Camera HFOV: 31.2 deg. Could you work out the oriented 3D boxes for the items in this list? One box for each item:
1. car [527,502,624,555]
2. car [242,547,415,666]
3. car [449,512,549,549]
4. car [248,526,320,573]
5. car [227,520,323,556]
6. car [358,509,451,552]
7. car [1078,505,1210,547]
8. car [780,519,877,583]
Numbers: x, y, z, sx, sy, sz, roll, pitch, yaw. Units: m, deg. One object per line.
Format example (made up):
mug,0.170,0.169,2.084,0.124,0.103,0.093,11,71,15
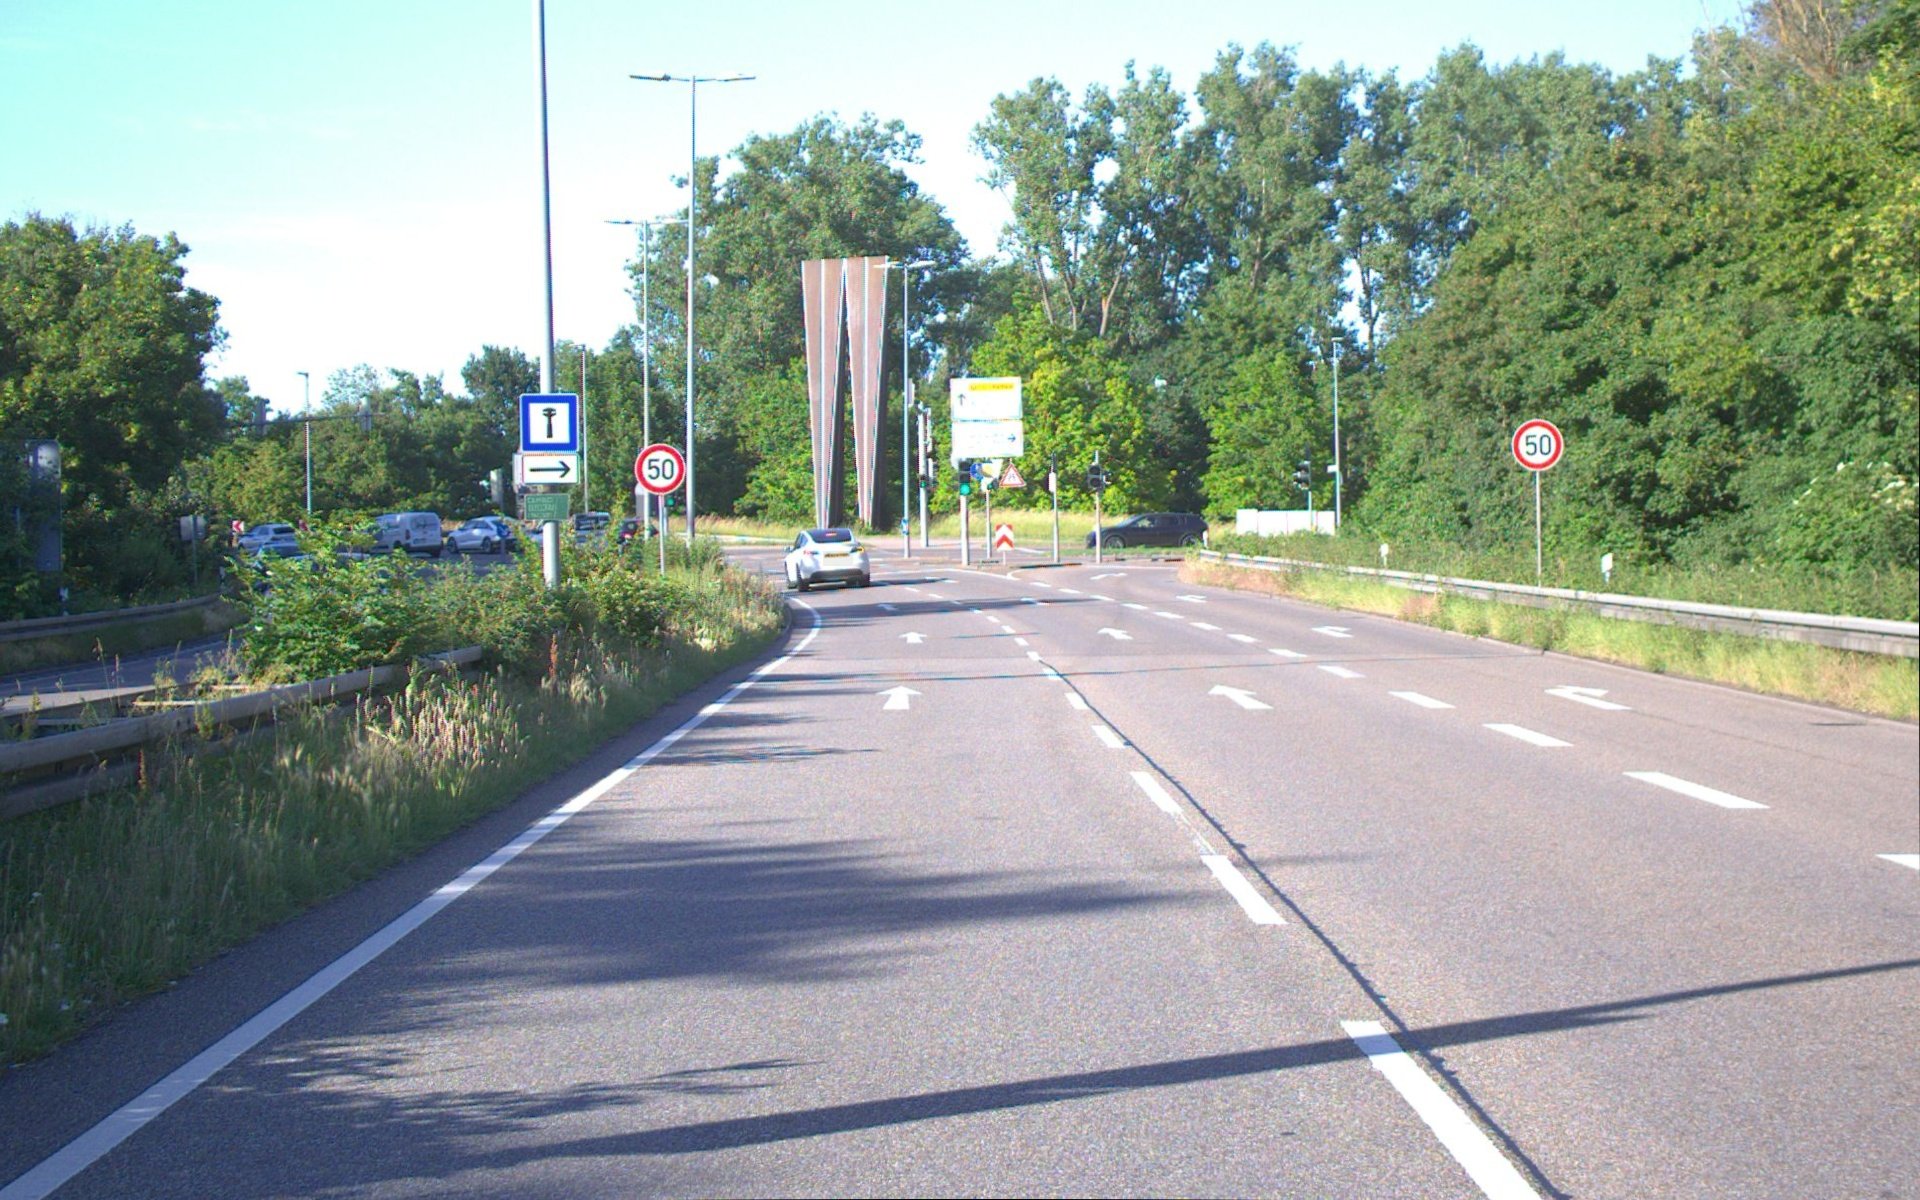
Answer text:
car,-14.340,-2.665,127.992,1.993,1.873,4.249,-2,2,-30
car,-9.019,0.061,49.395,1.769,1.564,4.219,-2,1,-2
car,-19.080,-2.876,142.246,1.970,1.469,4.152,-3,3,-45
car,-22.624,-1.675,114.995,1.885,1.415,4.365,-4,1,-16
car,-29.911,-2.690,150.046,2.267,1.503,3.998,-2,1,-44
car,-22.715,-2.856,140.518,1.970,1.692,3.999,-3,3,-39
car,6.680,-2.706,125.188,4.457,1.459,2.001,-1,2,-9
car,-3.597,-1.350,93.324,1.993,1.634,4.129,-2,2,-11
